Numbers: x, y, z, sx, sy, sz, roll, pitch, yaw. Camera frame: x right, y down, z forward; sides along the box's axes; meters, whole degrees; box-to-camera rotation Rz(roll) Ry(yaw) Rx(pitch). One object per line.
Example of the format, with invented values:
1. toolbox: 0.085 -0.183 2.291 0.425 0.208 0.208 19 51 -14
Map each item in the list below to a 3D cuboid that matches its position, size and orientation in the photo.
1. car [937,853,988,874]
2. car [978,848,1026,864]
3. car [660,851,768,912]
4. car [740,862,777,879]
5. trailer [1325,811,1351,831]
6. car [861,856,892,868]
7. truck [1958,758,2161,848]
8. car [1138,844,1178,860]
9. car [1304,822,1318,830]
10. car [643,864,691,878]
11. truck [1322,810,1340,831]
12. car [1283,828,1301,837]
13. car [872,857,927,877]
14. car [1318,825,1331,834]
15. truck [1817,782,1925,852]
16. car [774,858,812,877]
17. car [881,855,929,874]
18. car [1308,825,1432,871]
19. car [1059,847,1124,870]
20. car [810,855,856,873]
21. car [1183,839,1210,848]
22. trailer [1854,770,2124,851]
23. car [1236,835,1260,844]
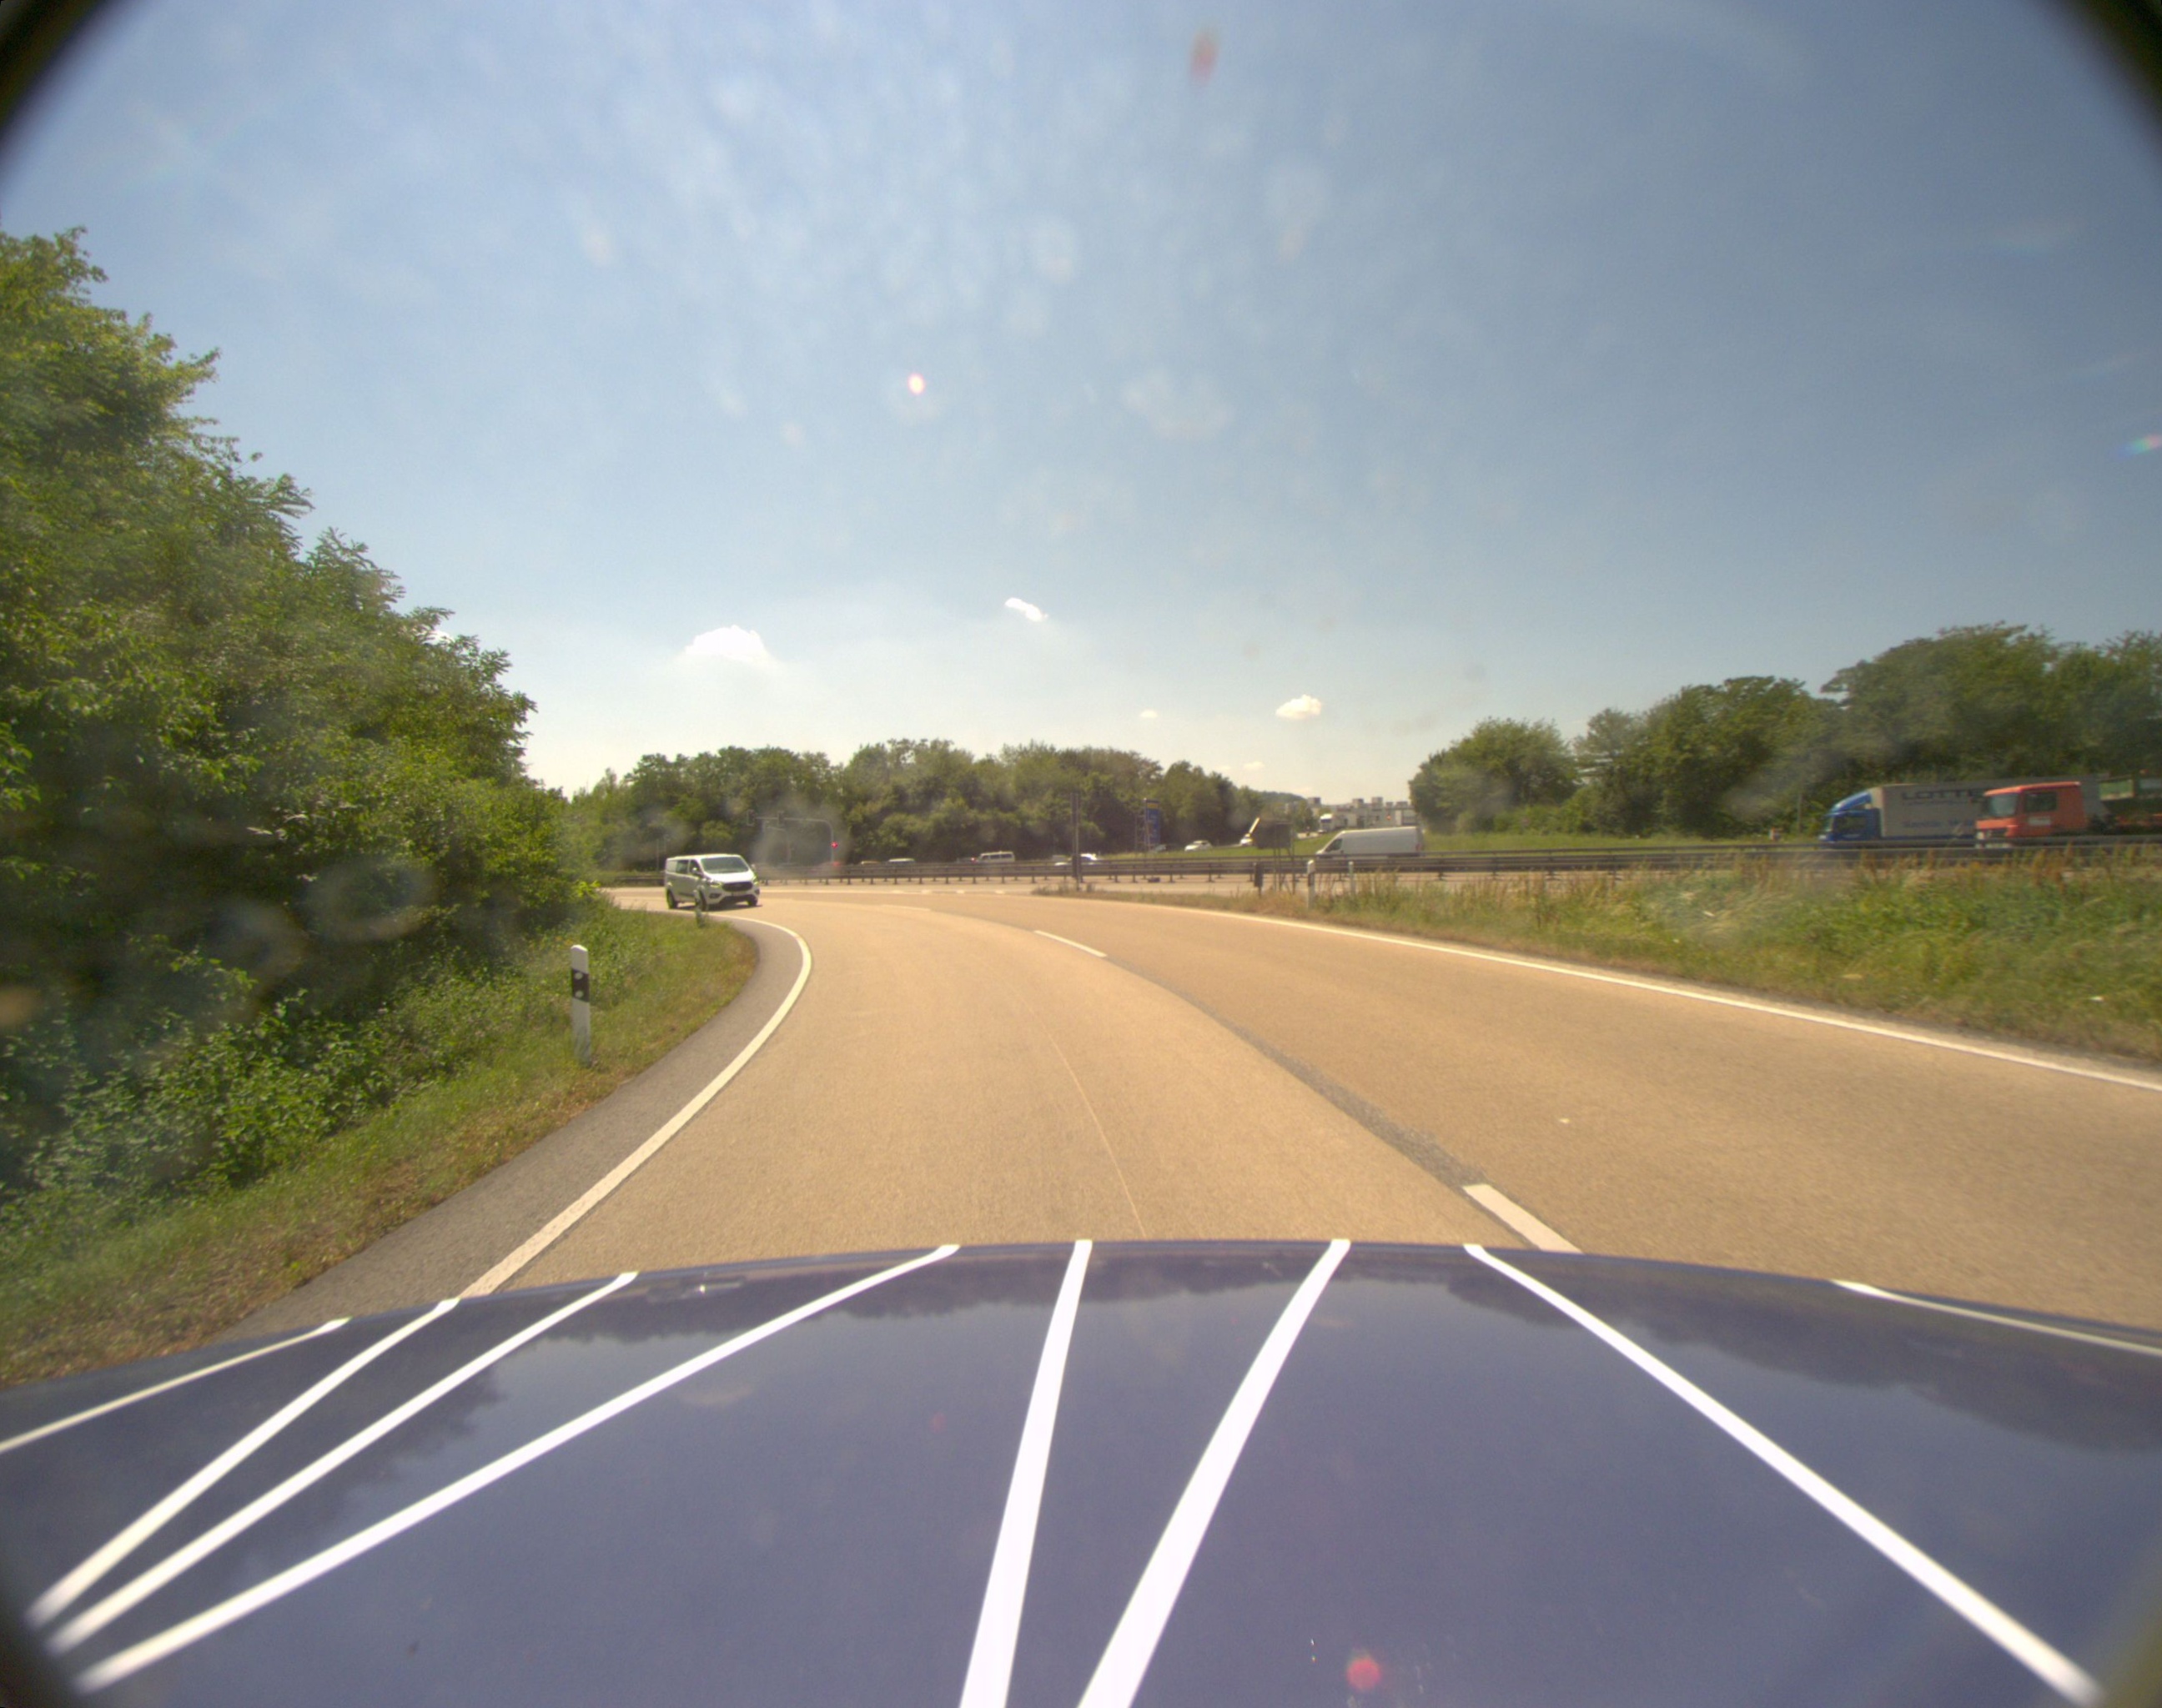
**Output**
1. car: -8.977 0.704 57.576 3.658 1.441 1.490 -2 1 31
2. car: -8.982 0.244 86.442 5.115 1.631 2.015 -2 0 -15
3. car: -13.994 1.011 28.791 2.067 2.002 5.027 -4 2 -45
4. car: -24.875 1.288 58.592 2.721 1.229 1.159 -2 1 31
5. trailer: 56.253 -7.225 166.208 2.818 4.135 12.273 -2 1 31
6. car: -23.138 0.888 86.115 3.175 1.142 1.629 -2 1 -5
7. truck: 38.262 -1.834 27.448 8.183 3.044 2.608 -1 1 30
8. car: 9.201 -0.275 90.932 4.222 1.698 1.996 -3 1 -26
9. car: 41.617 -5.051 137.654 1.596 1.424 3.577 -2 0 30
10. car: -43.037 1.734 79.073 3.945 1.215 1.708 -2 1 -7
11. truck: 52.817 -7.057 160.430 2.824 4.135 4.007 -2 1 31
12. car: 35.253 -3.510 126.875 1.596 1.424 3.757 -2 0 35
13. car: -13.397 0.956 56.013 3.912 1.340 1.522 -2 1 31
14. car: 46.412 -4.659 144.768 1.596 1.424 3.577 -2 0 30
15. truck: 36.438 -1.645 35.169 3.068 2.991 2.320 -2 0 36
16. car: -23.610 1.110 62.270 3.008 1.341 1.347 -2 1 31
17. car: -14.202 0.881 61.367 3.562 1.386 1.657 -2 1 31
18. car: 17.509 -0.326 46.194 6.679 2.523 2.168 -2 1 32
19. car: 0.779 0.324 56.503 4.524 1.476 1.706 -2 1 30
20. car: -21.328 0.861 65.275 3.695 1.441 1.569 -2 1 27
21. car: 15.522 -1.411 101.599 3.883 1.159 1.528 -2 0 -45
22. trailer: 39.145 -1.753 33.208 7.202 2.991 2.310 -2 0 36
23. car: 24.529 -2.116 111.611 1.528 1.159 4.084 -2 0 42
